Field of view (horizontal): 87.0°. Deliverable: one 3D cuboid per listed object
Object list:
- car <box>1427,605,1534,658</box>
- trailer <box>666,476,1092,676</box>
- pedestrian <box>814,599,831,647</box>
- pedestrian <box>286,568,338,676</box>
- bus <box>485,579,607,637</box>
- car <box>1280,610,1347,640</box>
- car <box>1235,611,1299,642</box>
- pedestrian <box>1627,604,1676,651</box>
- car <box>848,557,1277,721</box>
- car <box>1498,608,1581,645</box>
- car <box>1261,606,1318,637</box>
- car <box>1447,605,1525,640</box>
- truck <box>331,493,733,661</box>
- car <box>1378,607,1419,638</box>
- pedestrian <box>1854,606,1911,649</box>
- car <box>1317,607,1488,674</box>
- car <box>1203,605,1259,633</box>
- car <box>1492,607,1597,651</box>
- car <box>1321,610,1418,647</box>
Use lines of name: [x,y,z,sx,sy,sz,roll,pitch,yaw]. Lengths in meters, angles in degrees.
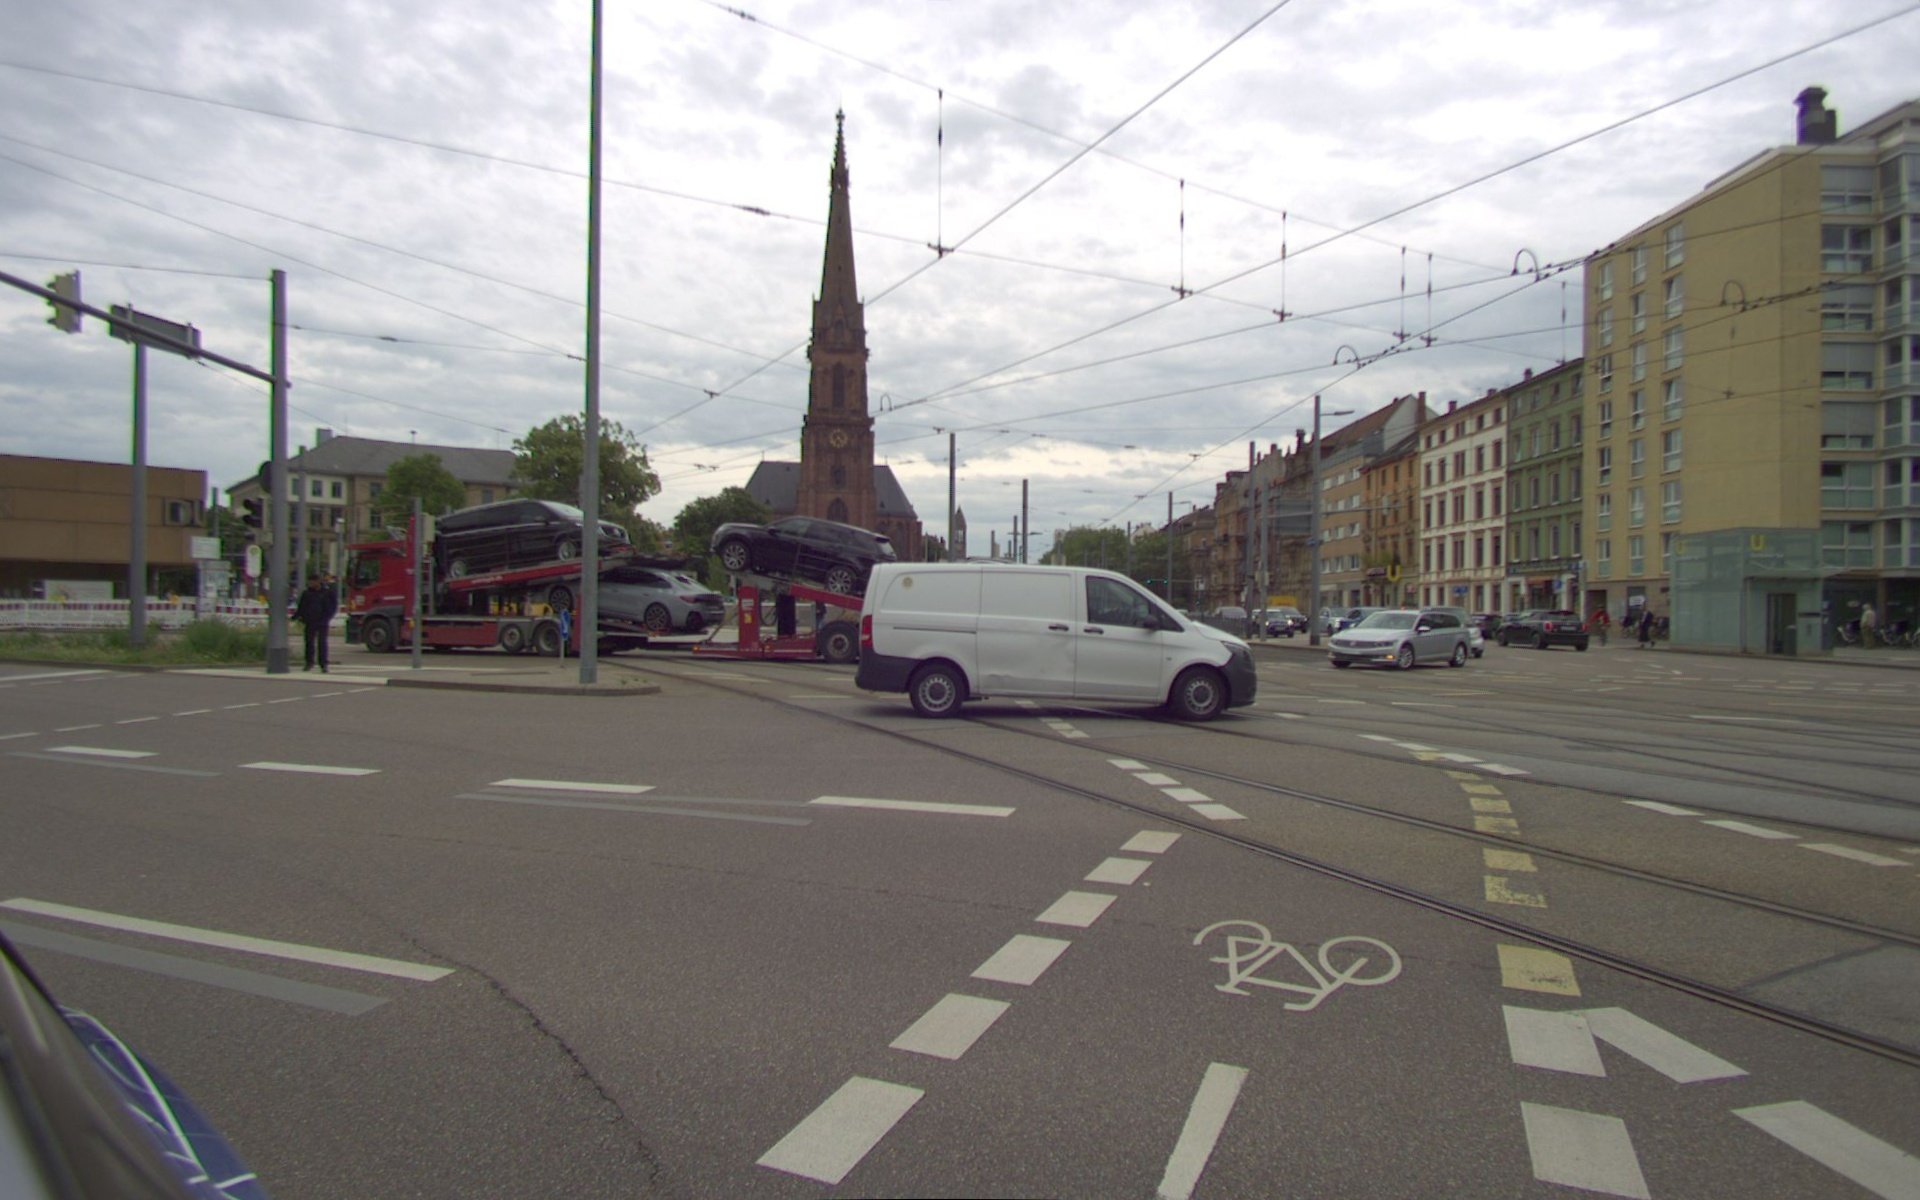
car: [16.119,0.924,31.563,1.978,1.504,3.609,0,0,10]
trailer: [-1.923,-0.530,23.360,9.483,4.003,2.977,0,1,21]
pedestrian: [-4.763,0.790,35.065,0.476,1.623,0.423,0,-1,17]
pedestrian: [-12.124,0.403,18.939,0.768,1.958,0.984,1,-1,-33]
bus: [-24.538,0.325,59.484,2.820,3.100,12.037,0,1,-42]
car: [18.112,1.269,52.031,1.971,1.453,4.001,0,0,-1]
car: [15.556,1.317,51.485,1.971,1.453,4.001,0,0,-1]
pedestrian: [26.728,1.059,39.156,1.163,1.798,1.041,0,-1,-3]
car: [1.177,0.444,12.823,5.016,1.896,1.924,0,1,-1]
car: [29.783,1.317,52.000,3.932,1.768,2.087,0,1,-33]
car: [19.505,1.241,60.097,1.971,1.741,4.001,0,1,-1]
car: [28.558,1.181,54.944,3.932,1.768,2.087,0,1,-33]
truck: [-11.329,-0.587,26.729,10.368,3.949,2.998,0,1,18]
car: [23.944,1.202,55.345,1.810,1.506,3.973,0,1,20]
pedestrian: [36.378,1.060,39.930,1.025,1.652,1.332,0,-1,-2]
car: [11.037,0.944,25.113,4.604,1.504,2.004,1,-1,-39]
car: [15.460,1.085,57.928,1.971,1.541,4.002,0,0,-2]
car: [21.128,1.013,36.778,1.753,1.479,3.994,0,0,5]
car: [15.526,1.040,38.601,1.971,1.320,4.001,0,0,-1]
